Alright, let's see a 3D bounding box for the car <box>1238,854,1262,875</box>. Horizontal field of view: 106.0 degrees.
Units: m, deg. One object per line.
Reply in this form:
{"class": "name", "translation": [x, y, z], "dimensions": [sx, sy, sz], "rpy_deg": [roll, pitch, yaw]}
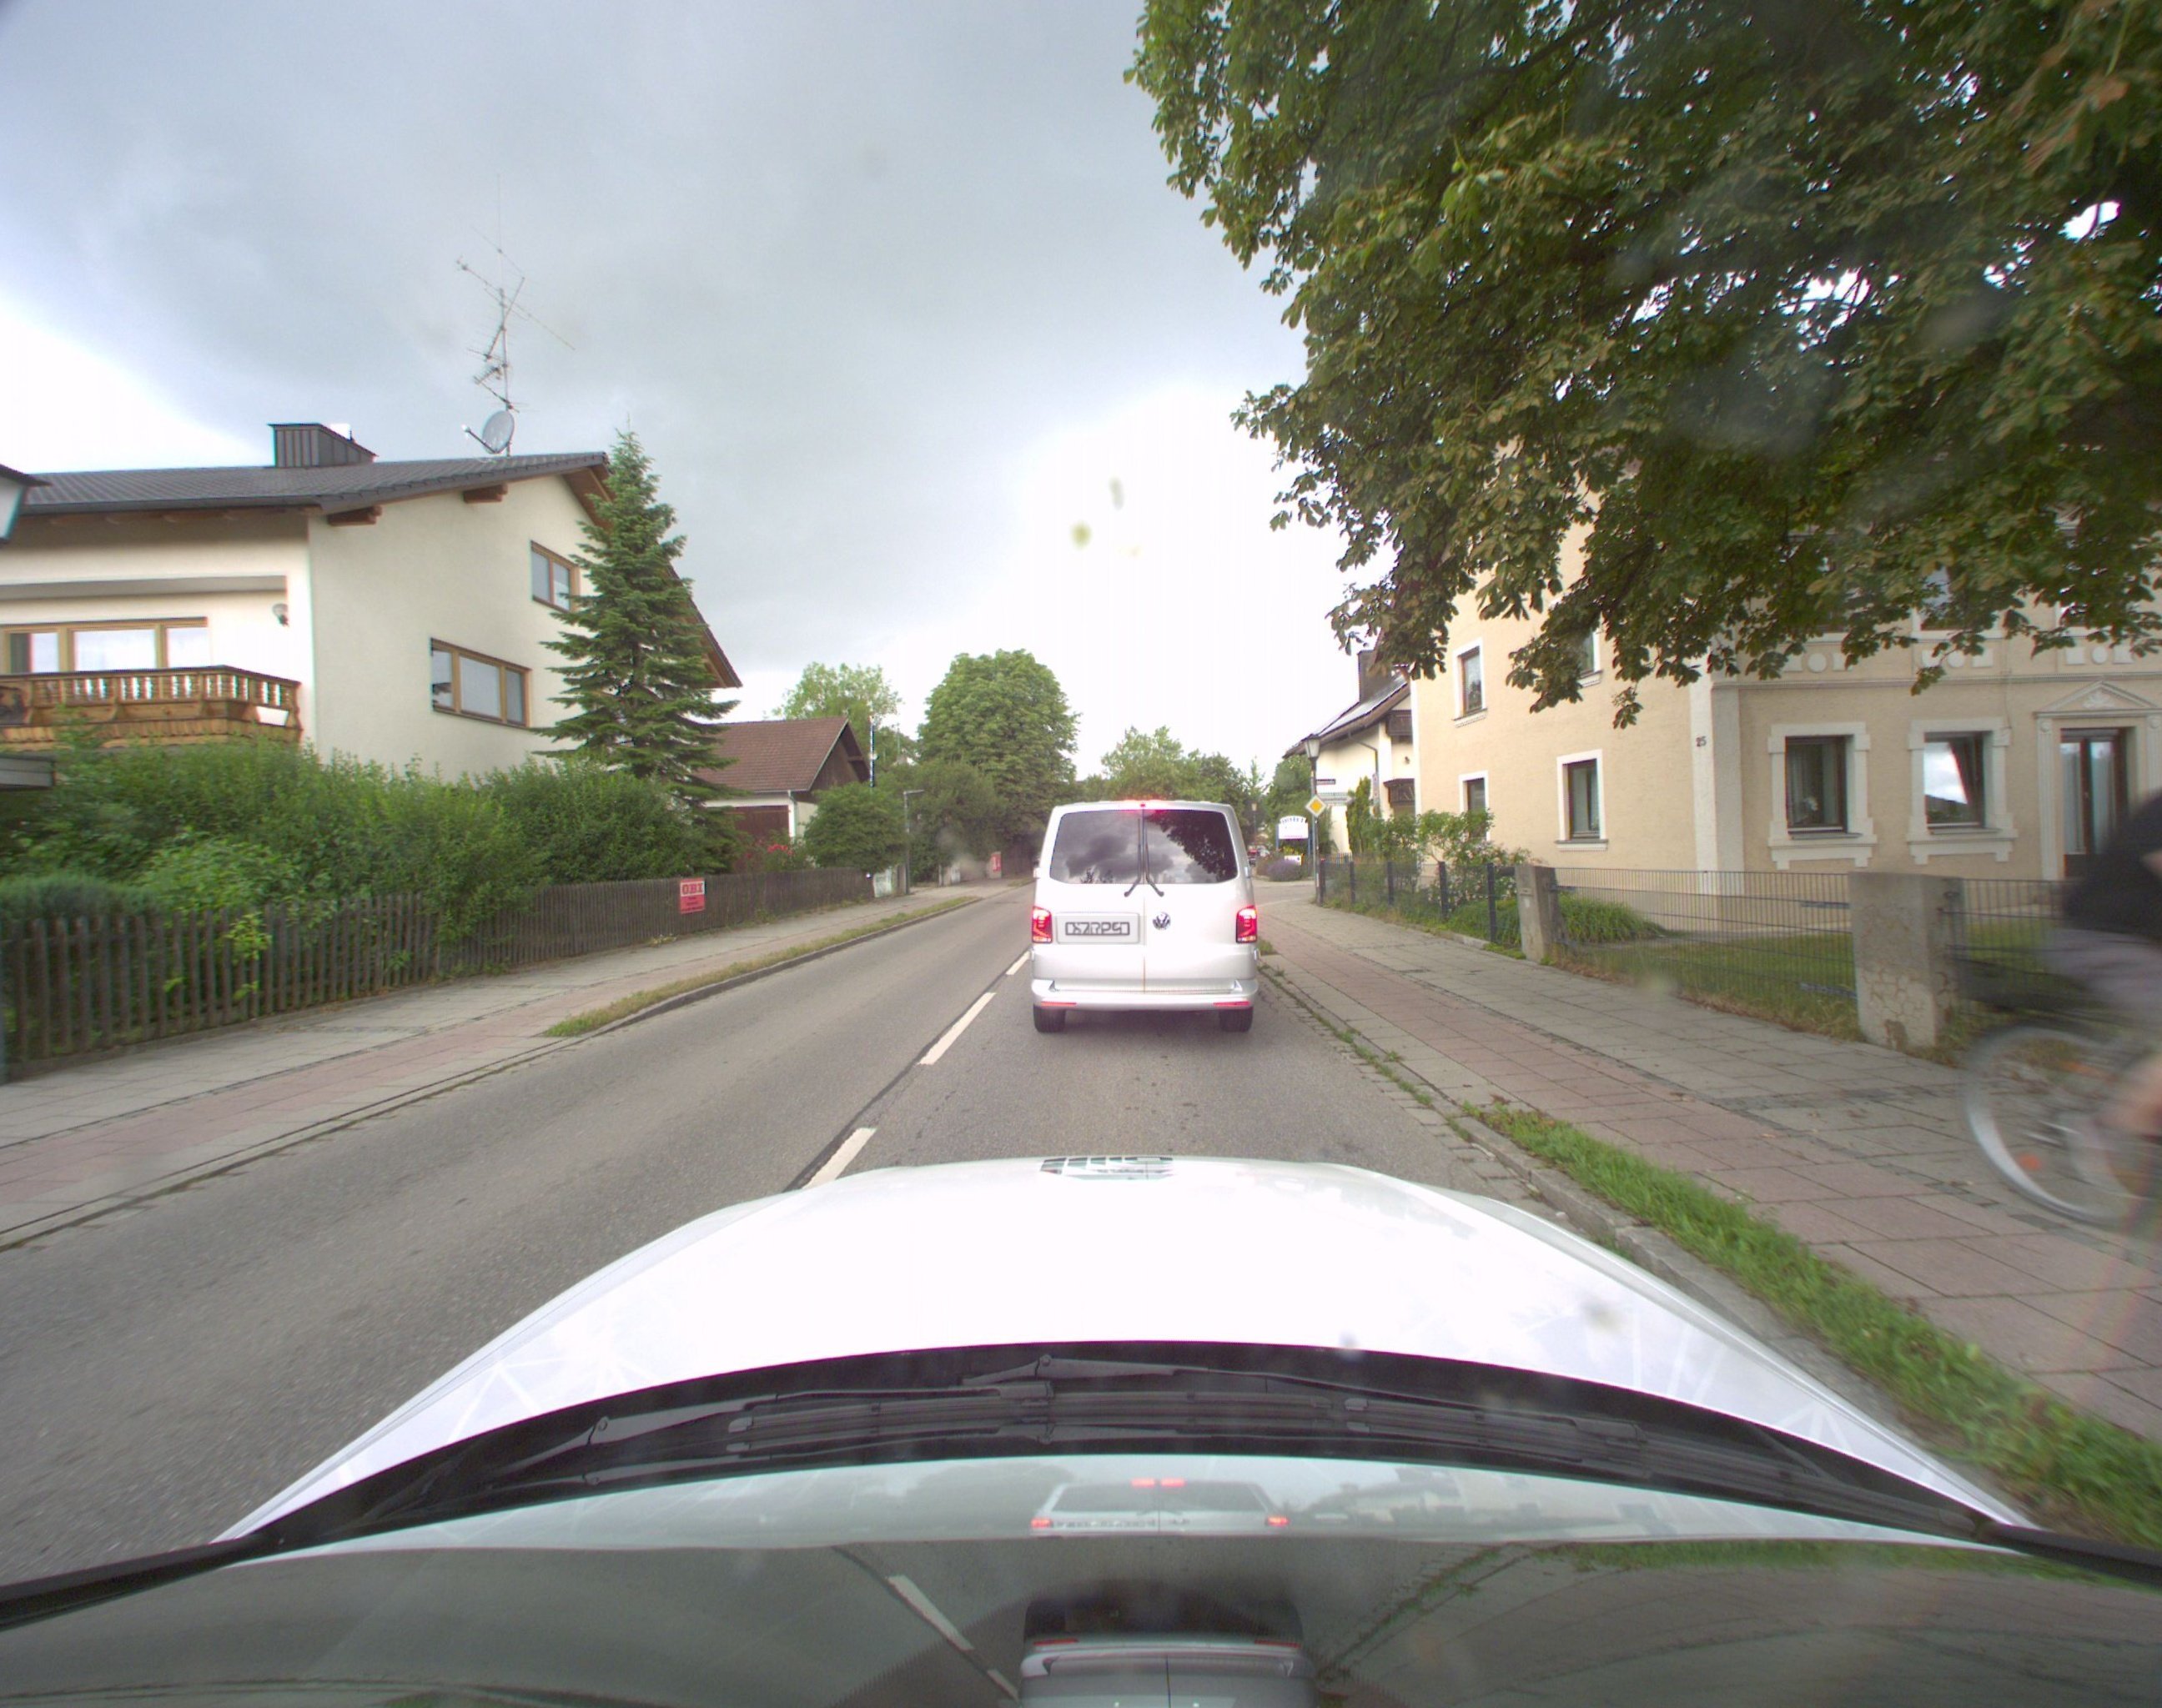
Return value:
{"class": "car", "translation": [15.701, 0.959, 75.655], "dimensions": [1.867, 1.825, 3.937], "rpy_deg": [-2, 0, 16]}

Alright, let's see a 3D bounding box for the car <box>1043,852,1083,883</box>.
{"class": "car", "translation": [-0.910, 0.681, 44.116], "dimensions": [1.923, 1.575, 4.314], "rpy_deg": [0, 0, 2]}

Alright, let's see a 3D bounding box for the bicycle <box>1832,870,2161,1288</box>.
{"class": "bicycle", "translation": [3.440, 0.649, 2.429], "dimensions": [0.761, 1.143, 1.847], "rpy_deg": [-2, 0, 4]}

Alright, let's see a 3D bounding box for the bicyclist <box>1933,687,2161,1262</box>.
{"class": "bicyclist", "translation": [3.436, 0.336, 2.474], "dimensions": [0.733, 1.632, 0.891], "rpy_deg": [-1, 0, 3]}

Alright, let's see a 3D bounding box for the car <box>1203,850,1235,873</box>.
{"class": "car", "translation": [10.284, 0.537, 60.296], "dimensions": [1.867, 1.535, 3.937], "rpy_deg": [-2, 0, 16]}

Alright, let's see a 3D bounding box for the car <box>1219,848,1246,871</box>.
{"class": "car", "translation": [12.510, 0.445, 67.224], "dimensions": [1.867, 1.748, 4.097], "rpy_deg": [-2, 0, 15]}

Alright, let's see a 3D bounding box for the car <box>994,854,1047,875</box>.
{"class": "car", "translation": [-4.649, 0.819, 62.583], "dimensions": [3.982, 1.486, 1.996], "rpy_deg": [-1, 0, -6]}

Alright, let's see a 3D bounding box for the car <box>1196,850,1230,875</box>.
{"class": "car", "translation": [8.832, 0.543, 54.424], "dimensions": [1.868, 1.535, 3.936], "rpy_deg": [-2, 0, 14]}

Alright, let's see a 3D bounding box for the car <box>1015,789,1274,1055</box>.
{"class": "car", "translation": [0.572, 0.507, 8.039], "dimensions": [1.873, 1.940, 3.924], "rpy_deg": [-2, 0, 3]}
